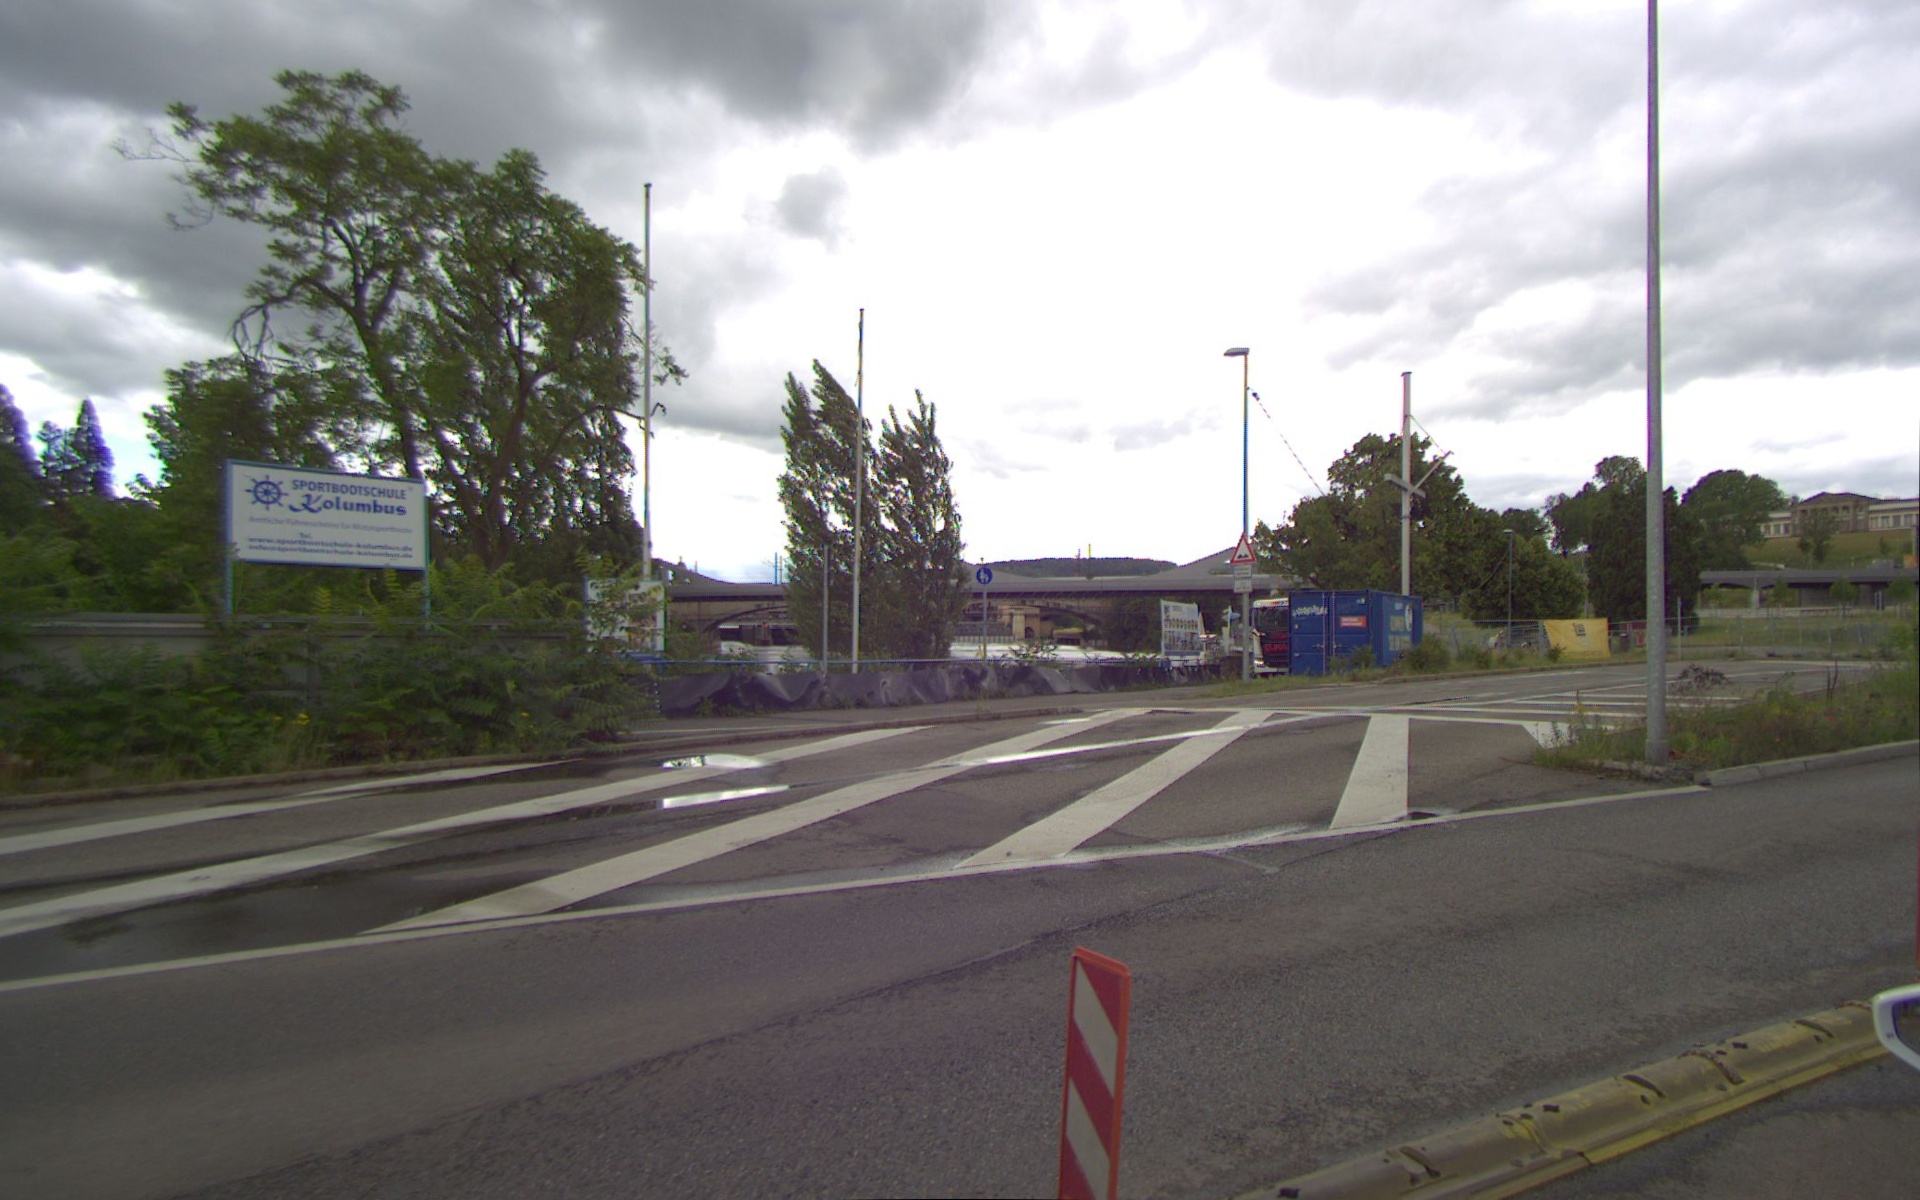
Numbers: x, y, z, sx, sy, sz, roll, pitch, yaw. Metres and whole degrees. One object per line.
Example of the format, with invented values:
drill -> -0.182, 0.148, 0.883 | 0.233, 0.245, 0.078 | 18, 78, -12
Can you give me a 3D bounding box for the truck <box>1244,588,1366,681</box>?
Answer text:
truck -> 14.220, 1.377, 40.914 | 2.753, 3.380, 8.458 | -3, -2, 32
